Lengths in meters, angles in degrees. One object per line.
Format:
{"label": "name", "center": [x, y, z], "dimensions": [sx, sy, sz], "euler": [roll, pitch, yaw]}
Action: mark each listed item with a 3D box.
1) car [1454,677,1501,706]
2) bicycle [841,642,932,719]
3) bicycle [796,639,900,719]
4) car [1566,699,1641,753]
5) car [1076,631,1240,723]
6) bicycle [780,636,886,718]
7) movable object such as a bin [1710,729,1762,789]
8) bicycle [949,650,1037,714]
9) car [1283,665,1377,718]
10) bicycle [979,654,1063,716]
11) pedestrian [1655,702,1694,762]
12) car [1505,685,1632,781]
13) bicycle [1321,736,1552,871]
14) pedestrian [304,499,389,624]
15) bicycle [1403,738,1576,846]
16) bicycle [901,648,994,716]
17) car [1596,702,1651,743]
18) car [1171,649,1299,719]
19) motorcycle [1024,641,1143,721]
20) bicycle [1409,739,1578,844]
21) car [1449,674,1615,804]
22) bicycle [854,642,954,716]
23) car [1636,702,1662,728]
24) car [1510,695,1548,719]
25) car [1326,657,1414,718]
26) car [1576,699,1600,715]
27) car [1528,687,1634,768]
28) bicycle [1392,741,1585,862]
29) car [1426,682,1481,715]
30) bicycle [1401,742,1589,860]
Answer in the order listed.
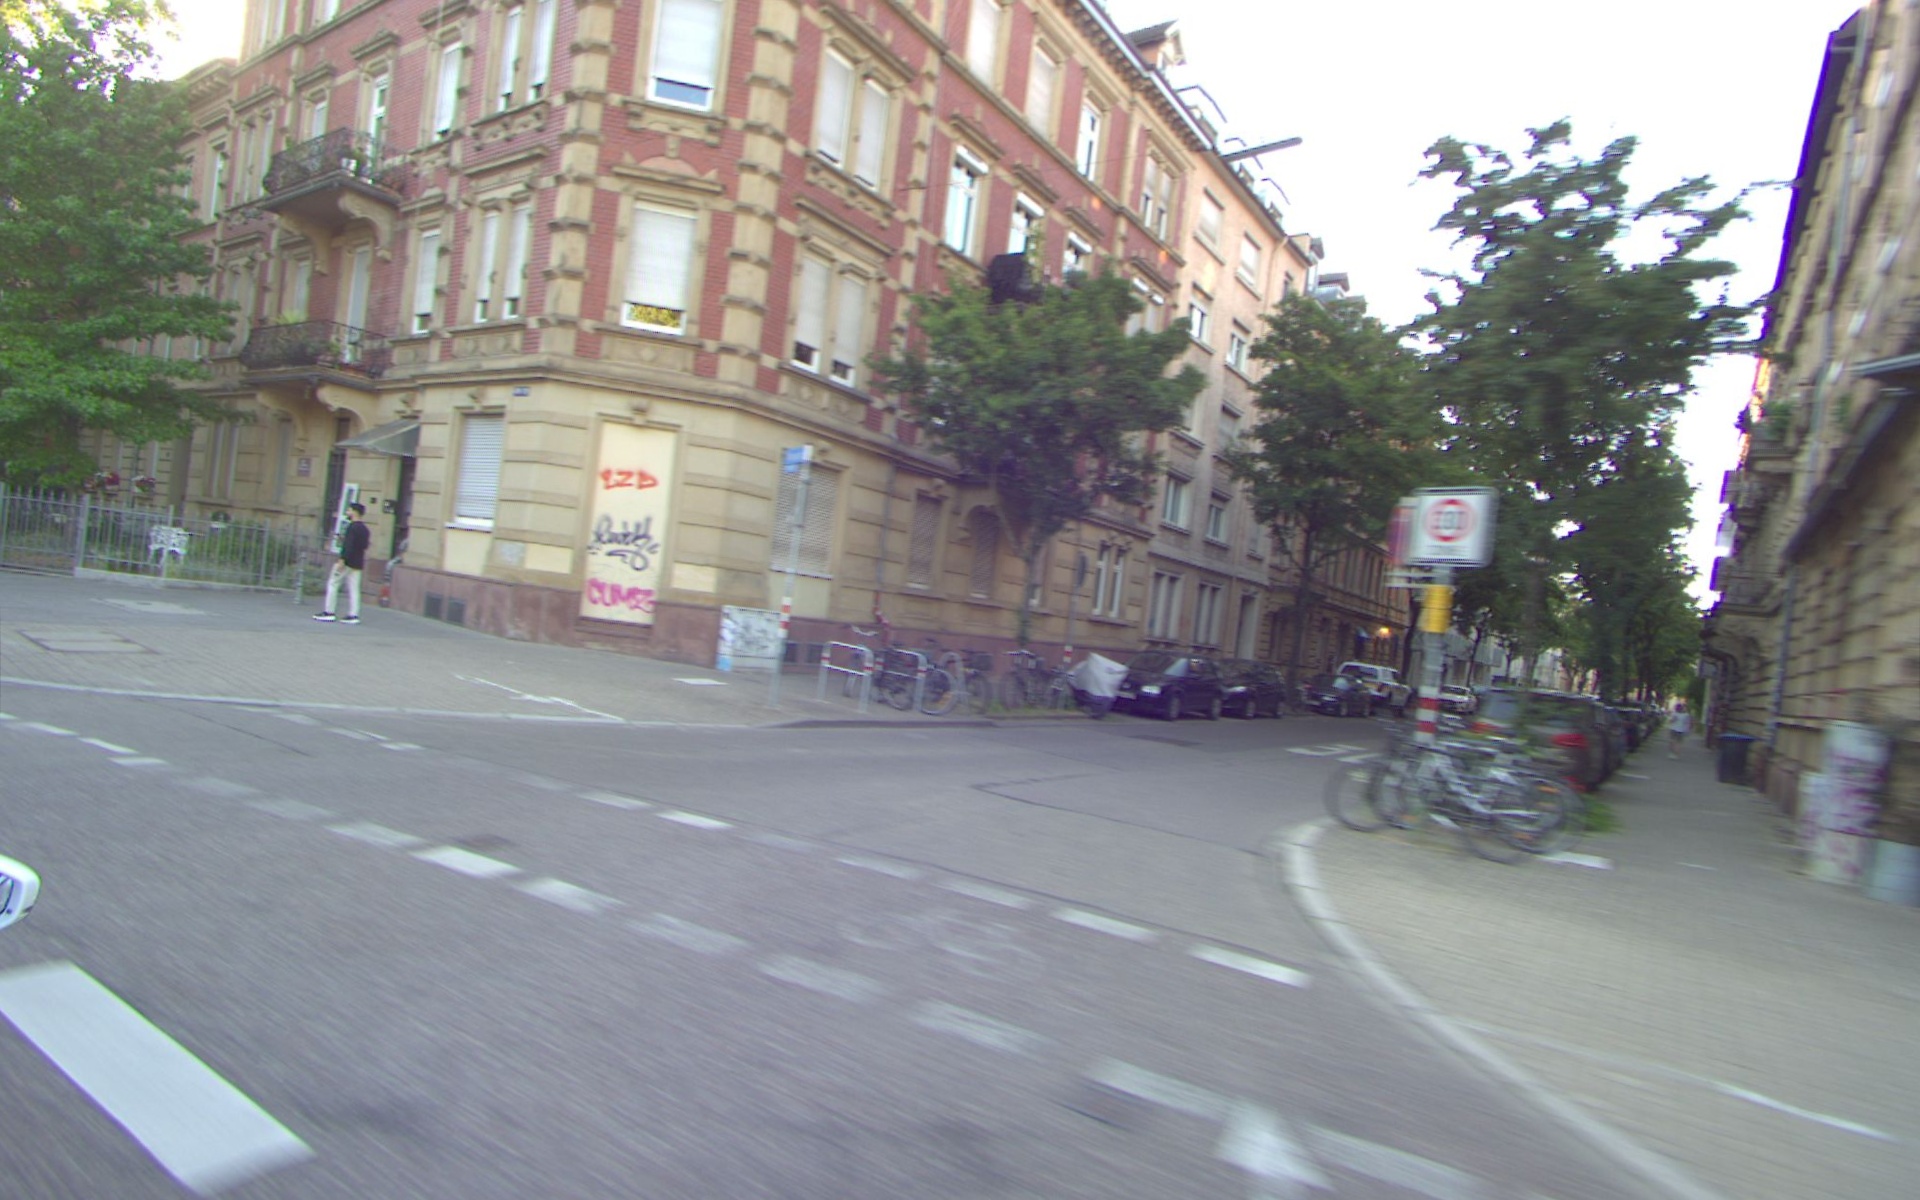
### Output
{"label": "car", "center": [31.088, 5.500, 60.376], "dimensions": [1.820, 1.435, 3.989], "euler": [7, -1, 36]}
{"label": "bicycle", "center": [-1.101, 1.162, 14.732], "dimensions": [1.477, 0.826, 0.294], "euler": [11, 1, 44]}
{"label": "bicycle", "center": [-1.580, 1.092, 14.056], "dimensions": [1.472, 0.826, 0.292], "euler": [11, 1, 32]}
{"label": "car", "center": [22.039, 4.271, 34.411], "dimensions": [1.820, 1.435, 3.989], "euler": [7, -1, 36]}
{"label": "car", "center": [4.518, 1.755, 22.540], "dimensions": [1.968, 1.526, 3.989], "euler": [11, 2, 35]}
{"label": "bicycle", "center": [-1.746, 1.040, 13.733], "dimensions": [1.472, 0.826, 0.292], "euler": [11, 1, 32]}
{"label": "movable object such as a bin", "center": [16.983, 3.469, 22.035], "dimensions": [0.746, 1.141, 0.694], "euler": [7, 0, 34]}
{"label": "bicycle", "center": [0.569, 1.440, 17.714], "dimensions": [1.472, 0.826, 0.295], "euler": [11, 1, 32]}
{"label": "car", "center": [12.429, 3.078, 33.637], "dimensions": [1.884, 1.409, 3.989], "euler": [7, -1, 35]}
{"label": "bicycle", "center": [1.109, 1.559, 18.550], "dimensions": [1.472, 0.826, 0.295], "euler": [11, 1, 32]}
{"label": "pedestrian", "center": [21.852, 4.025, 30.766], "dimensions": [0.785, 1.690, 0.587], "euler": [7, 1, 34]}
{"label": "car", "center": [12.748, 2.714, 20.972], "dimensions": [1.820, 1.541, 3.989], "euler": [7, -1, 36]}
{"label": "bicycle", "center": [4.040, 1.704, 8.630], "dimensions": [1.711, 0.826, 0.294], "euler": [4, -3, 41]}
{"label": "pedestrian", "center": [-9.351, -0.583, 15.335], "dimensions": [0.818, 1.803, 0.745], "euler": [8, 4, 32]}
{"label": "bicycle", "center": [5.375, 1.931, 10.278], "dimensions": [1.477, 0.826, 0.294], "euler": [4, -3, 41]}
{"label": "bicycle", "center": [-0.221, 1.339, 16.528], "dimensions": [1.472, 0.826, 0.295], "euler": [11, 1, 32]}
{"label": "car", "center": [30.446, 5.577, 46.095], "dimensions": [1.820, 1.498, 3.989], "euler": [7, -1, 36]}
{"label": "car", "center": [7.322, 2.232, 26.520], "dimensions": [1.884, 1.474, 3.989], "euler": [7, -1, 35]}
{"label": "motorcycle", "center": [2.414, 1.591, 19.997], "dimensions": [0.880, 1.135, 2.183], "euler": [11, 0, -40]}
{"label": "bicycle", "center": [5.562, 1.977, 10.539], "dimensions": [1.477, 0.826, 0.294], "euler": [4, -3, 41]}
{"label": "car", "center": [9.523, 2.211, 16.602], "dimensions": [1.820, 1.626, 3.989], "euler": [7, -1, 36]}
{"label": "bicycle", "center": [-0.857, 1.179, 15.124], "dimensions": [1.472, 0.826, 0.295], "euler": [11, 1, 32]}
{"label": "car", "center": [67.987, 11.332, 99.251], "dimensions": [1.820, 2.260, 3.989], "euler": [8, 0, 36]}
{"label": "car", "center": [38.026, 7.157, 67.219], "dimensions": [1.676, 1.351, 3.989], "euler": [7, -1, 36]}
{"label": "car", "center": [15.317, 3.268, 37.474], "dimensions": [1.951, 1.892, 3.989], "euler": [7, -1, 36]}
{"label": "car", "center": [69.734, 11.905, 111.706], "dimensions": [1.820, 1.435, 3.989], "euler": [7, -1, 36]}
{"label": "car", "center": [15.330, 3.088, 24.740], "dimensions": [1.820, 1.541, 3.989], "euler": [7, -1, 36]}
{"label": "bicycle", "center": [4.829, 1.820, 9.256], "dimensions": [1.477, 0.826, 0.294], "euler": [4, -3, 41]}
{"label": "car", "center": [25.802, 5.171, 52.557], "dimensions": [1.820, 1.374, 3.989], "euler": [7, -1, 36]}
{"label": "bicycle", "center": [5.022, 1.864, 9.504], "dimensions": [1.477, 0.826, 0.294], "euler": [4, -3, 41]}
